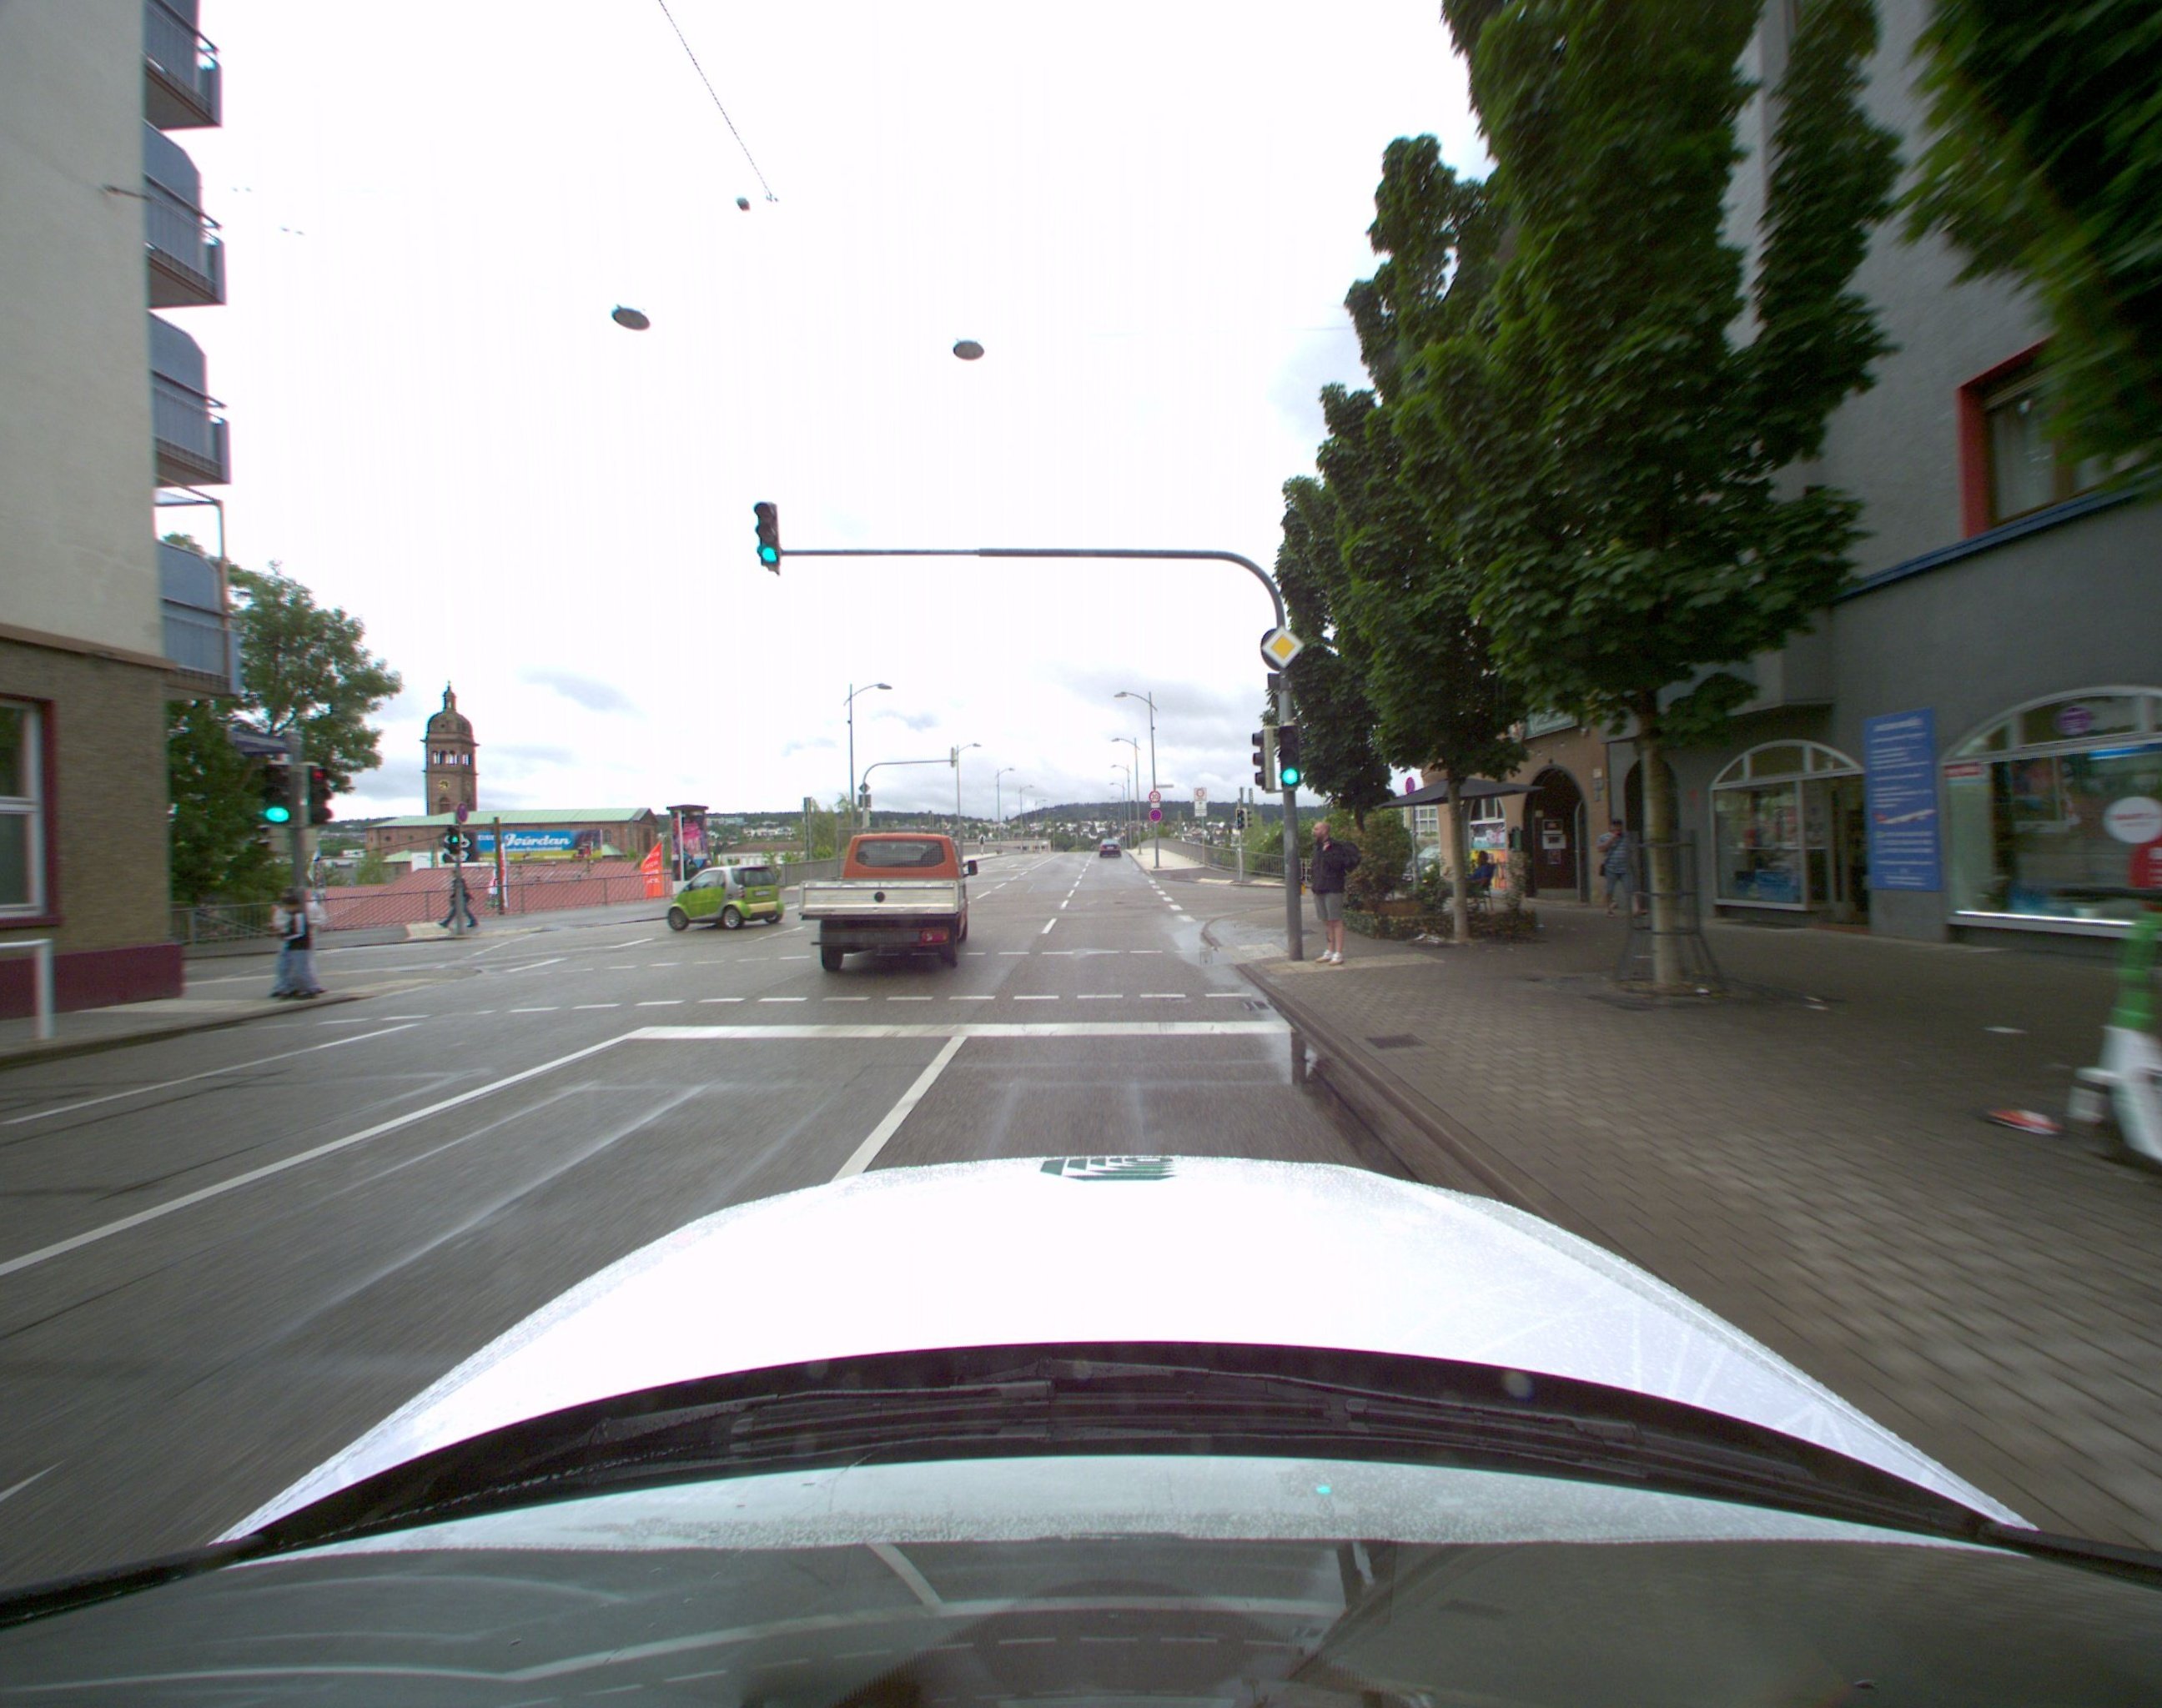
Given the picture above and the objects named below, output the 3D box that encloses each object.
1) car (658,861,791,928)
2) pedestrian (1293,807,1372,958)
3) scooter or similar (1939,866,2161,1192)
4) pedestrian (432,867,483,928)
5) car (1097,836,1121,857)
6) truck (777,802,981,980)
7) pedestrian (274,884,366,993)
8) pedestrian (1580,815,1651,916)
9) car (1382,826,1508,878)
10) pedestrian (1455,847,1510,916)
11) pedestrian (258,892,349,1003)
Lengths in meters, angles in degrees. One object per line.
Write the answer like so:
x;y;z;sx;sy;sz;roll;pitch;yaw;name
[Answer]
-8.957;1.005;20.513;2.635;1.547;1.538;-3;-1;18;car
3.194;0.354;10.389;0.730;1.841;0.631;-2;-1;0;pedestrian
4.202;0.648;2.963;0.509;1.172;1.550;-2;-1;2;scooter or similar
-18.719;1.284;24.469;1.076;1.757;1.052;-2;-1;-33;pedestrian
2.192;-0.591;62.908;1.747;1.479;4.002;-2;-1;2;car
-2.857;0.486;12.919;2.398;2.129;5.301;-2;-1;-7;truck
-10.883;1.187;11.665;0.640;1.458;0.661;-2;-1;0;pedestrian
8.715;0.186;13.295;0.641;1.571;0.726;-2;-1;4;pedestrian
14.870;-0.052;33.240;4.761;2.014;1.985;0;0;-22;car
7.165;0.483;14.550;0.662;1.189;0.557;-2;-1;0;pedestrian
-10.366;1.229;10.881;0.542;1.388;0.650;-2;-1;3;pedestrian
